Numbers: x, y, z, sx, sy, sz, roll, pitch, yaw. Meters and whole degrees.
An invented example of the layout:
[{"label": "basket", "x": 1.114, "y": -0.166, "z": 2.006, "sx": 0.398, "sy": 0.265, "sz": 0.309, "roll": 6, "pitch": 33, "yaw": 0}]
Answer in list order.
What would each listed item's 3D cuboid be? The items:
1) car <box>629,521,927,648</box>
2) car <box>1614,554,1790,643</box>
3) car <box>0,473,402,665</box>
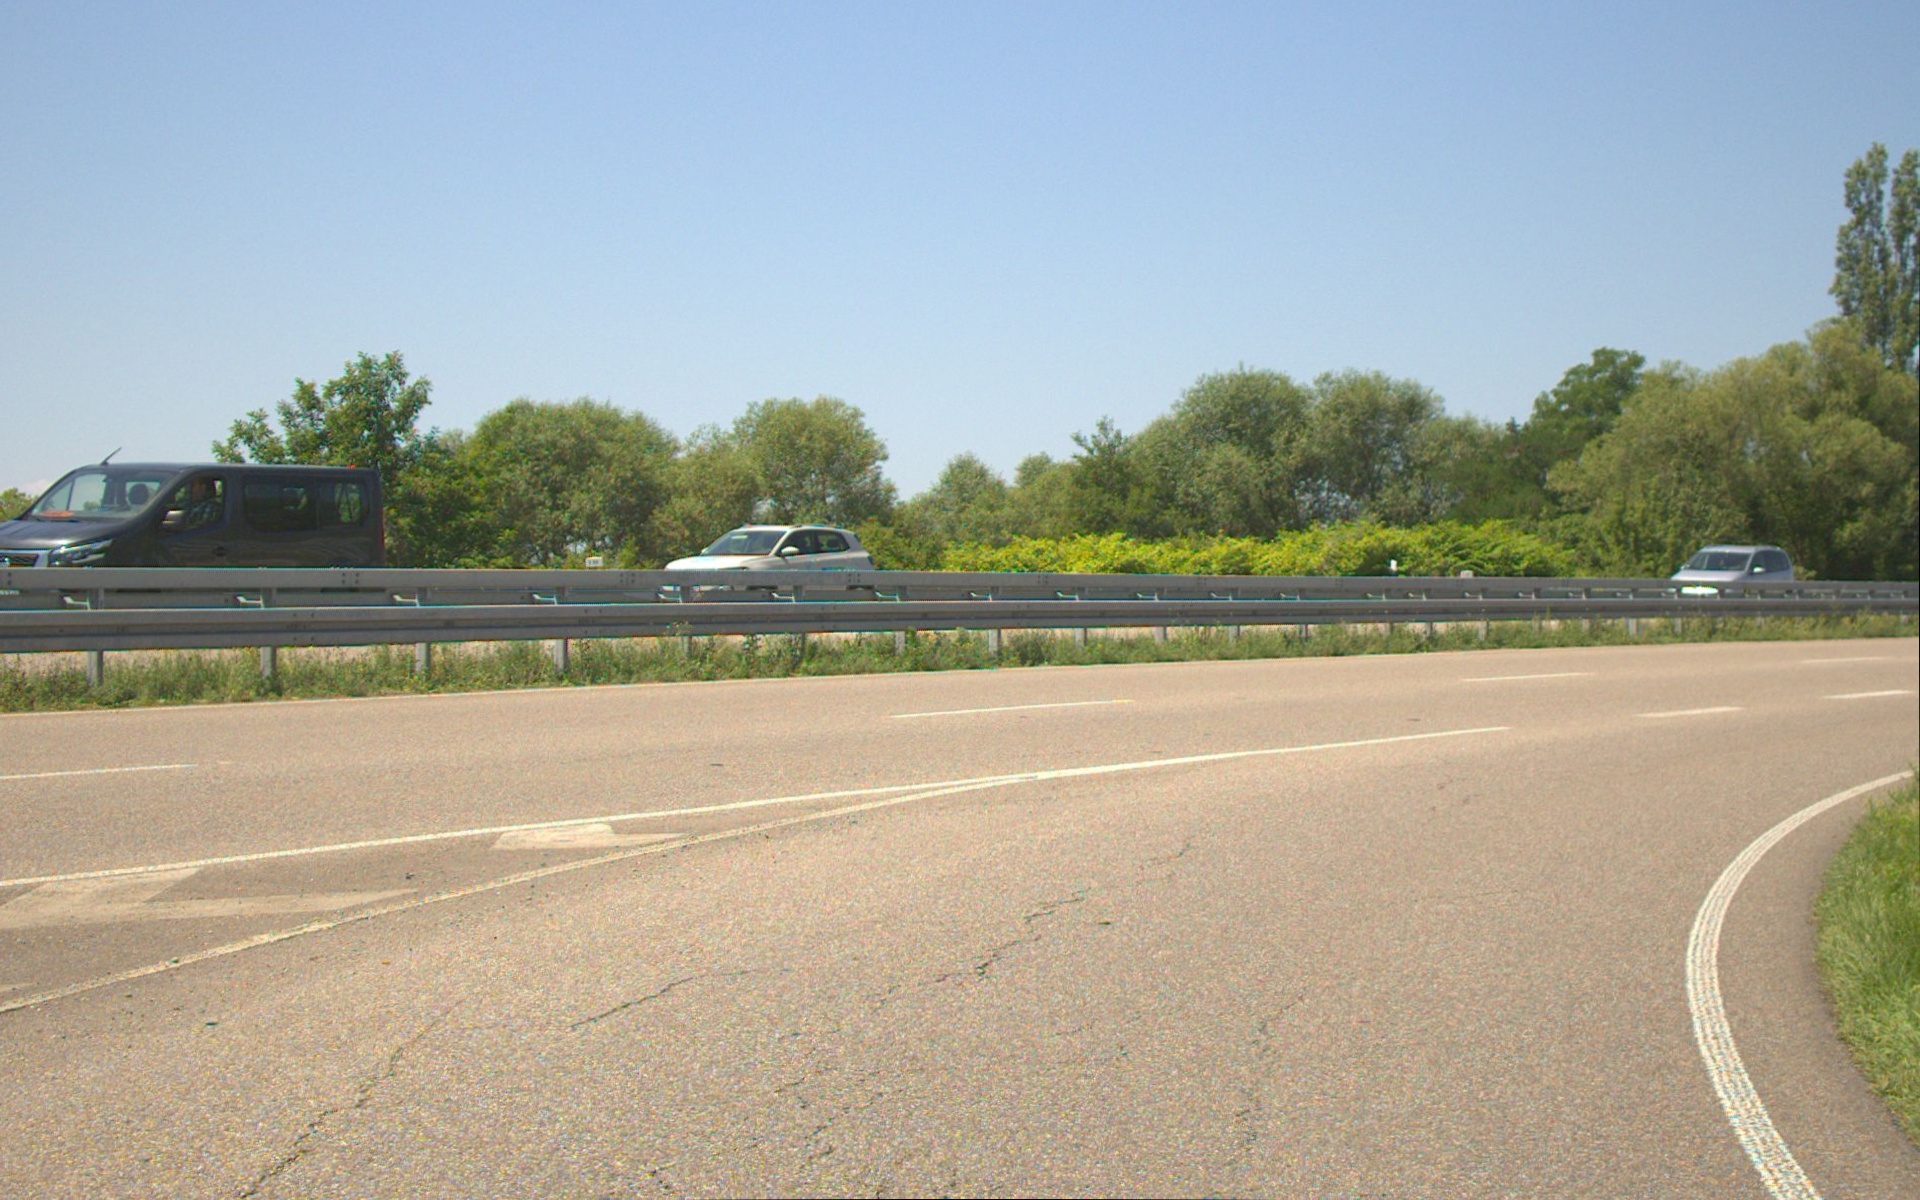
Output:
[{"label": "car", "x": -2.888, "y": -0.223, "z": 55.682, "sx": 2.208, "sy": 1.886, "sz": 4.902, "roll": 1, "pitch": -1, "yaw": 36}, {"label": "car", "x": 17.072, "y": -0.023, "z": 78.950, "sx": 2.208, "sy": 1.886, "sz": 4.902, "roll": 1, "pitch": -1, "yaw": 35}, {"label": "car", "x": -8.487, "y": -0.292, "z": 37.024, "sx": 2.208, "sy": 1.886, "sz": 4.903, "roll": 1, "pitch": 0, "yaw": 31}]
